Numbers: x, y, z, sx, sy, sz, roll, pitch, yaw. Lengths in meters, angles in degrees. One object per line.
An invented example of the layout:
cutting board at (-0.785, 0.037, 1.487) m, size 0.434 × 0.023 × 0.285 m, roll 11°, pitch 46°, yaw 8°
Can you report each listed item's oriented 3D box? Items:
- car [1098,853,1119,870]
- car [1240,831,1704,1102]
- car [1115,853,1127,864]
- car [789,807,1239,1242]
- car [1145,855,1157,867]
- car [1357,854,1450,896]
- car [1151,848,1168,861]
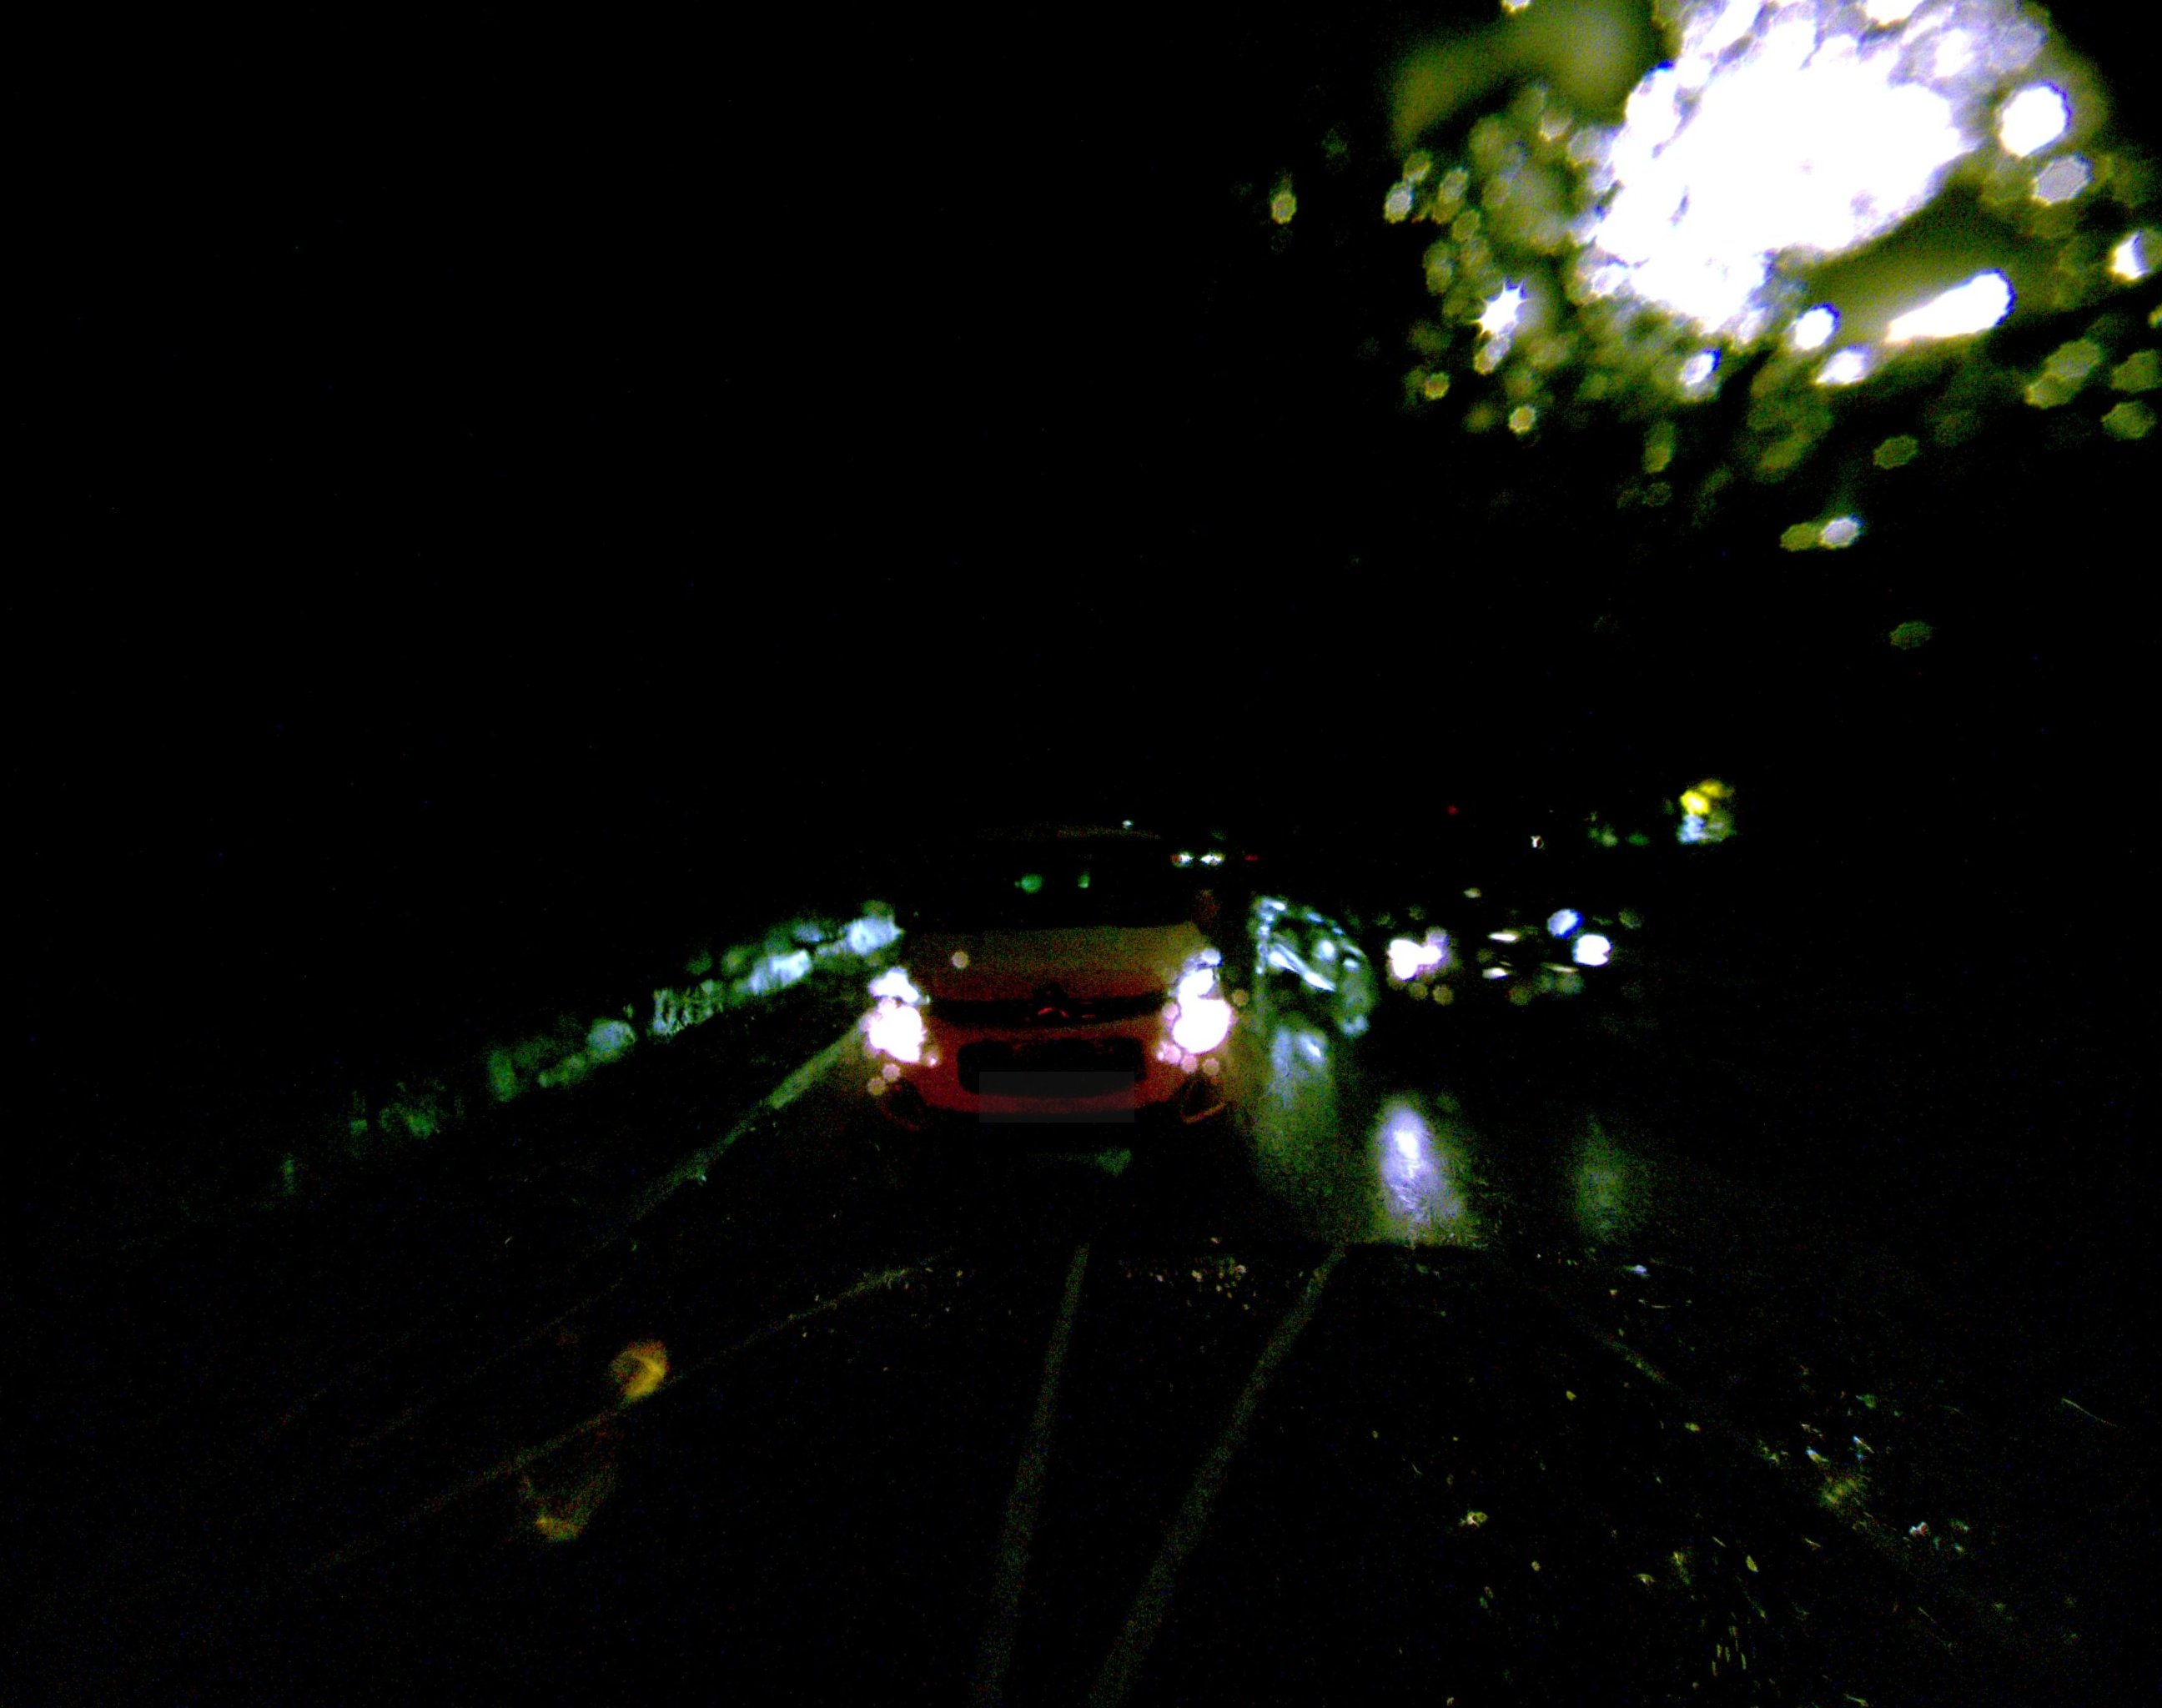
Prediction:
car at (2.707, 0.735, 76.114) m, size 1.998 × 1.456 × 3.999 m, roll -1°, pitch 1°, yaw 0°
car at (3.023, 0.713, 7.327) m, size 1.914 × 1.694 × 4.938 m, roll -1°, pitch 0°, yaw 0°
car at (7.410, 0.845, 139.468) m, size 1.998 × 2.002 × 4.002 m, roll -1°, pitch 0°, yaw 6°
car at (-0.165, 0.723, 5.329) m, size 1.877 × 1.825 × 4.206 m, roll -1°, pitch 0°, yaw 4°
car at (13.267, 1.324, 143.761) m, size 1.997 × 2.002 × 4.001 m, roll -1°, pitch 1°, yaw 7°
car at (12.838, 0.785, 30.541) m, size 1.658 × 1.490 × 4.373 m, roll 1°, pitch 0°, yaw -3°
car at (9.978, 0.053, 96.831) m, size 1.750 × 1.495 × 4.892 m, roll -1°, pitch 1°, yaw 0°
